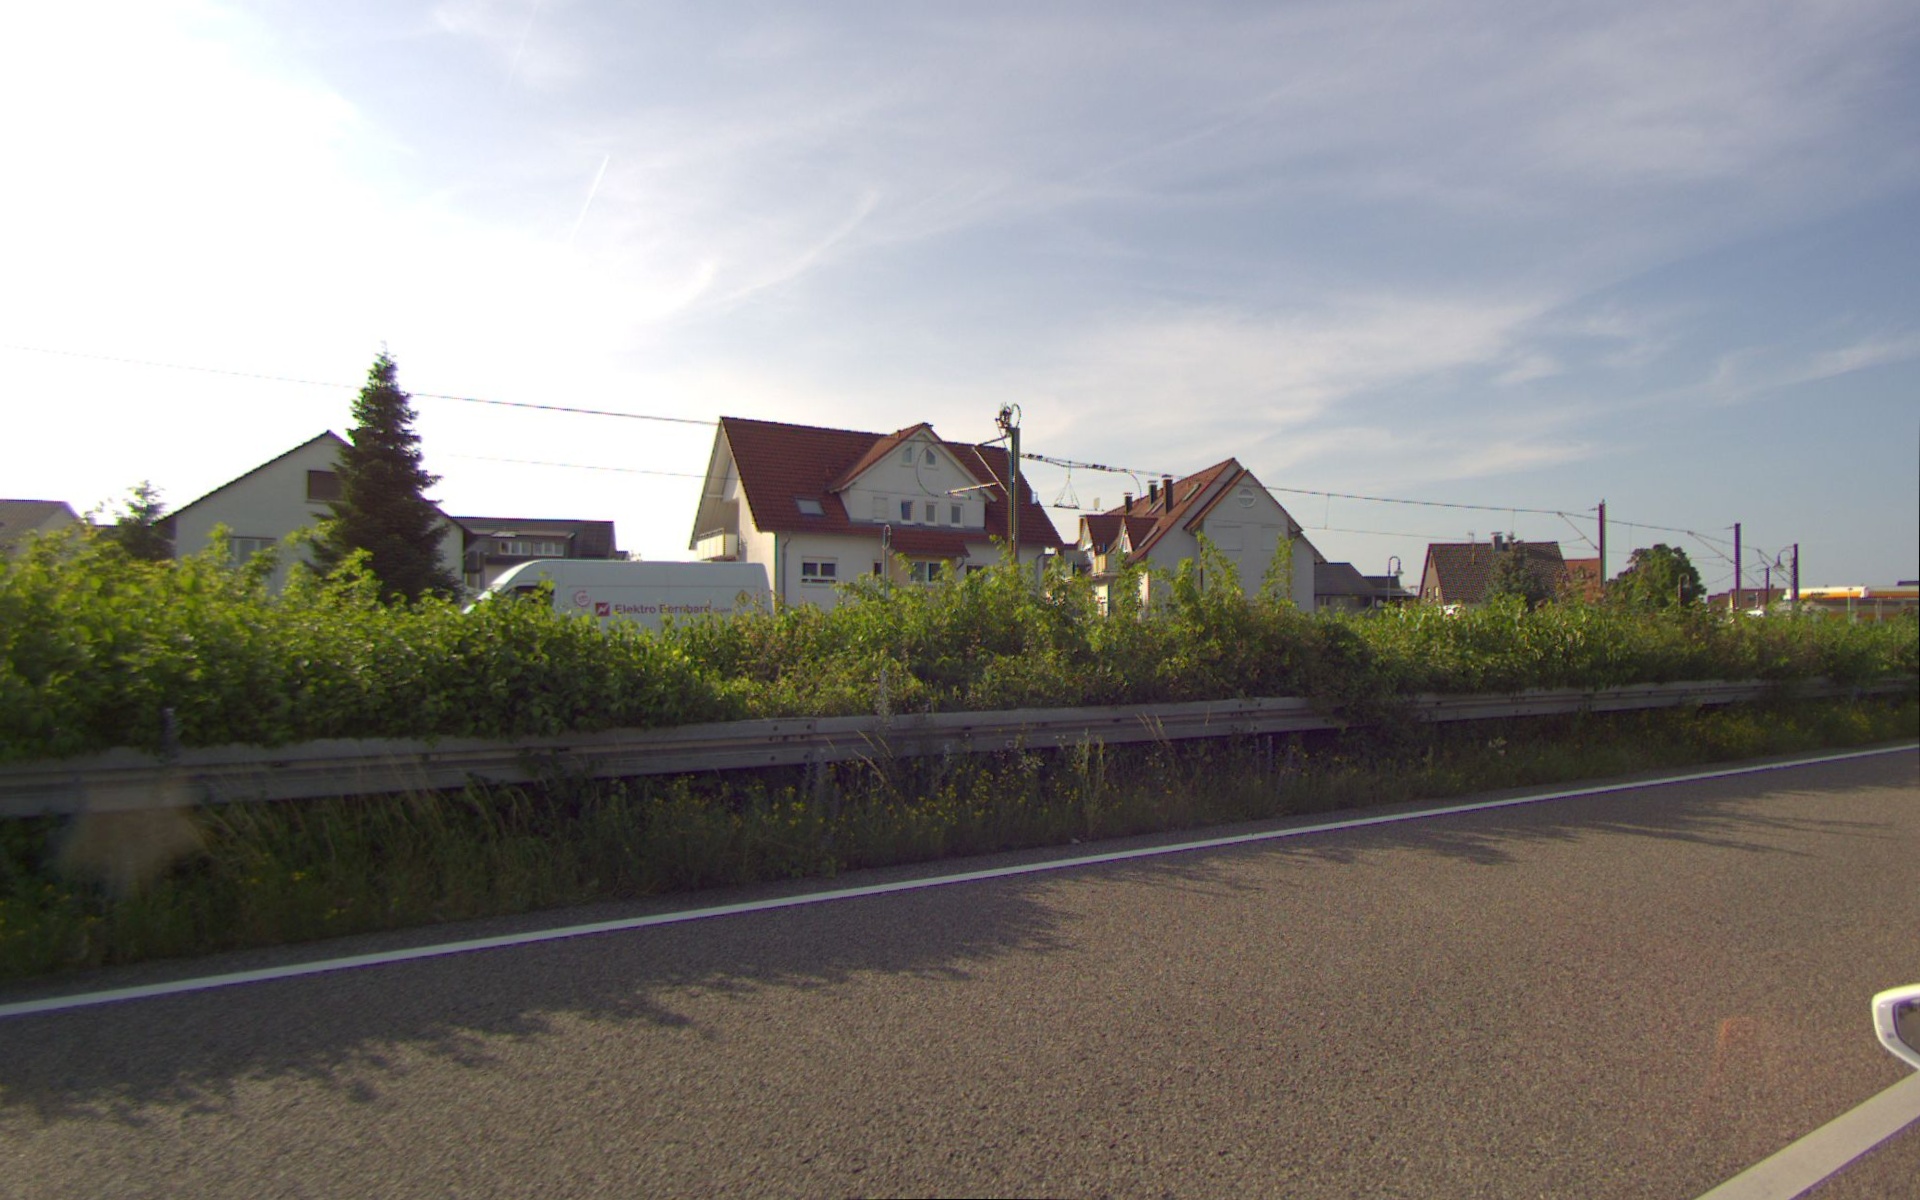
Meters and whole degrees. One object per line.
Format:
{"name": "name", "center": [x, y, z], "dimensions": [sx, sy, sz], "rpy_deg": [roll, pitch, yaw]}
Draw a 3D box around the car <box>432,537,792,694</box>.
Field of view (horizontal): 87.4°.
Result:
{"name": "car", "center": [-5.177, 0.238, 15.126], "dimensions": [4.815, 2.040, 1.984], "rpy_deg": [1, 0, -31]}
